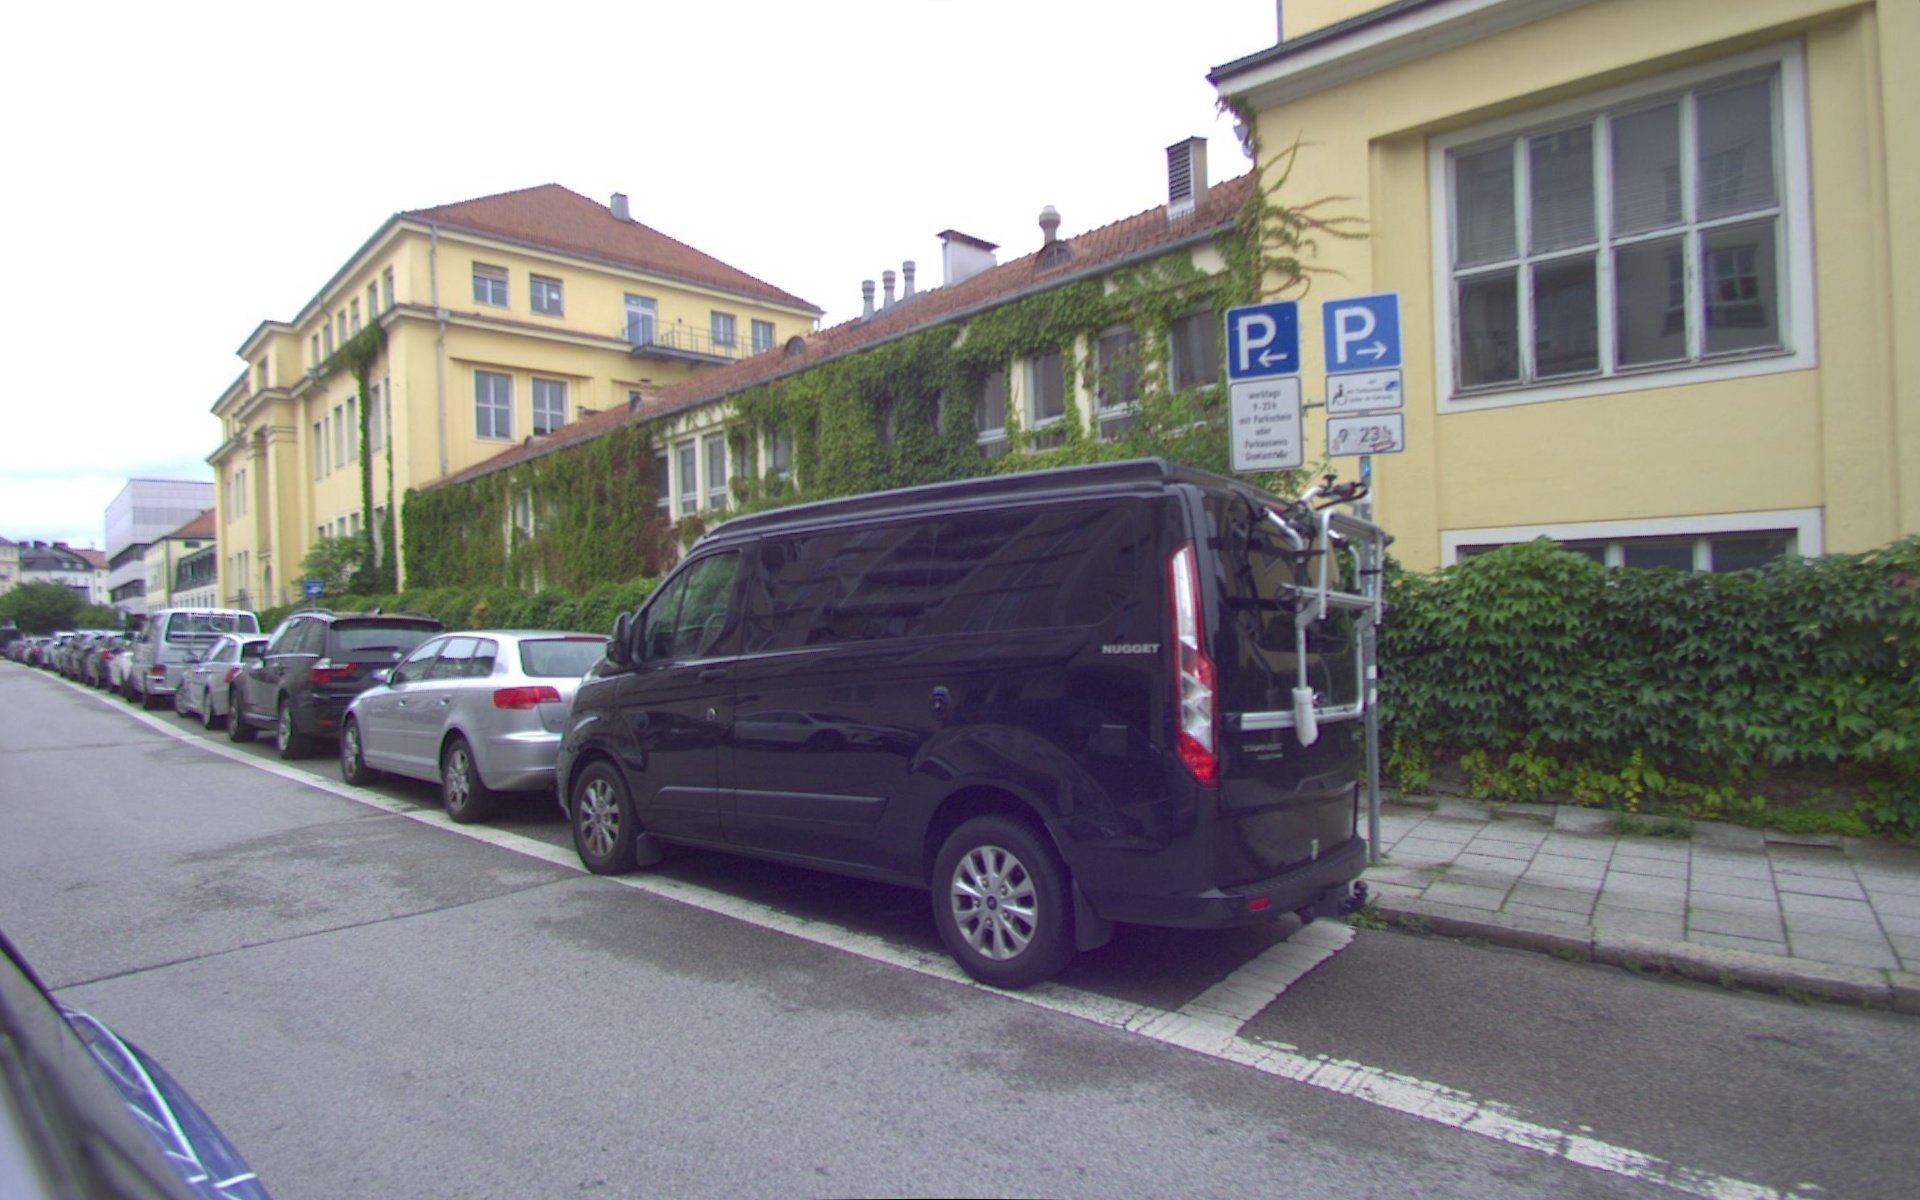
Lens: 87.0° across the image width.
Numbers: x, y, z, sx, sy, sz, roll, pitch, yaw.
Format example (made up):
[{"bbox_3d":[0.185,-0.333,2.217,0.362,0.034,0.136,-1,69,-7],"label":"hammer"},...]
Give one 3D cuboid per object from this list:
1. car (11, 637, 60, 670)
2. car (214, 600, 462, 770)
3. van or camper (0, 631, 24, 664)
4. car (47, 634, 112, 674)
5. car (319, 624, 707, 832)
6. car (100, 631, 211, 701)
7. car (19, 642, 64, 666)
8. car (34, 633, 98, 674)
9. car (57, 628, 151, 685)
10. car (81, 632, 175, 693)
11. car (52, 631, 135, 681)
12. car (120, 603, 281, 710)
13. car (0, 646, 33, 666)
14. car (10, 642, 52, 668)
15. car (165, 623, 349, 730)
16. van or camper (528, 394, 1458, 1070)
[{"bbox_3d":[-46.745,2.665,51.169,1.661,1.507,3.988,-1,-1,-45],"label":"car"},{"bbox_3d":[-7.822,0.926,12.527,4.426,1.743,1.601,-2,-2,44],"label":"car"},{"bbox_3d":[-85.123,4.233,89.828,5.565,2.829,2.115,-3,-3,38],"label":"van or camper"},{"bbox_3d":[-35.547,2.133,40.818,3.896,1.436,1.661,-2,0,45],"label":"car"},{"bbox_3d":[-4.023,0.945,8.771,4.072,1.388,1.602,-2,-4,43],"label":"car"},{"bbox_3d":[-19.027,1.518,23.888,3.731,1.504,1.560,-2,-4,45],"label":"car"},{"bbox_3d":[-55.036,3.239,60.626,3.997,1.409,1.656,-3,-4,43],"label":"car"},{"bbox_3d":[-39.420,2.315,44.602,4.356,1.646,1.662,-2,0,43],"label":"car"},{"bbox_3d":[-26.448,1.695,31.237,4.149,1.549,1.762,-2,0,44],"label":"car"},{"bbox_3d":[-22.601,1.648,27.438,3.906,1.466,1.560,-2,-1,45],"label":"car"},{"bbox_3d":[-29.945,1.885,34.939,4.196,1.549,1.762,-2,0,44],"label":"car"},{"bbox_3d":[-15.282,1.095,20.258,1.970,1.890,4.762,3,-3,-44],"label":"car"},{"bbox_3d":[-67.232,3.982,72.016,1.772,1.416,4.132,3,-4,-43],"label":"car"},{"bbox_3d":[-59.334,3.505,64.599,3.997,1.578,1.656,-3,-4,43],"label":"car"},{"bbox_3d":[-11.384,1.125,16.250,1.682,1.433,4.427,-1,0,-45],"label":"car"},{"bbox_3d":[-0.172,0.490,5.401,4.748,2.081,1.941,-2,-3,39],"label":"van or camper"}]
